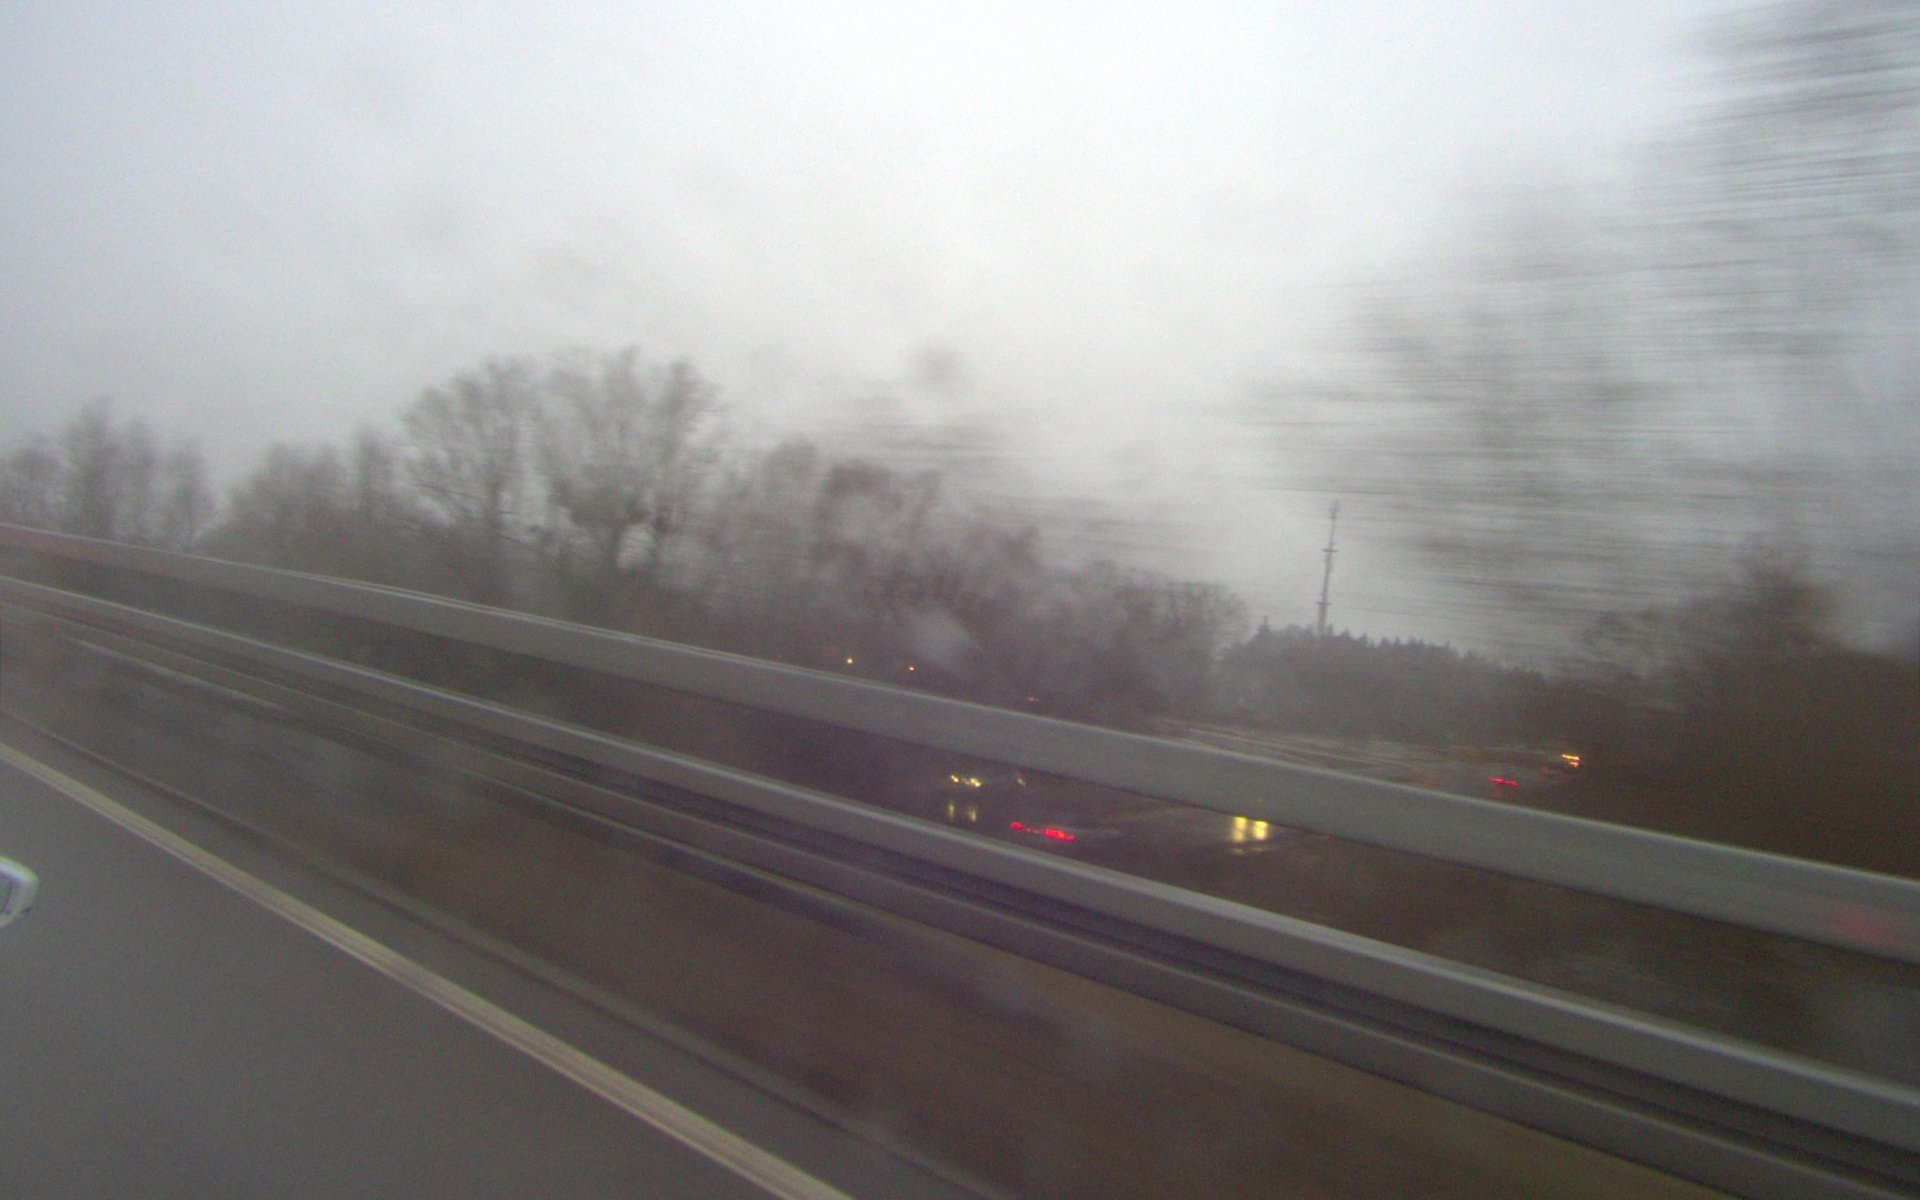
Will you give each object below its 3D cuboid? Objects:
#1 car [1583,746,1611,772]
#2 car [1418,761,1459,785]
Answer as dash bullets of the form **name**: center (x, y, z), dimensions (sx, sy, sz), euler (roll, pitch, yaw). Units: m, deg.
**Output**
- **car**: center (99.348, 24.705, 156.769), dimensions (2.511, 3.424, 6.631), euler (6, -1, 40)
- **car**: center (48.135, 17.376, 101.183), dimensions (1.973, 2.037, 5.688), euler (7, -2, 43)
